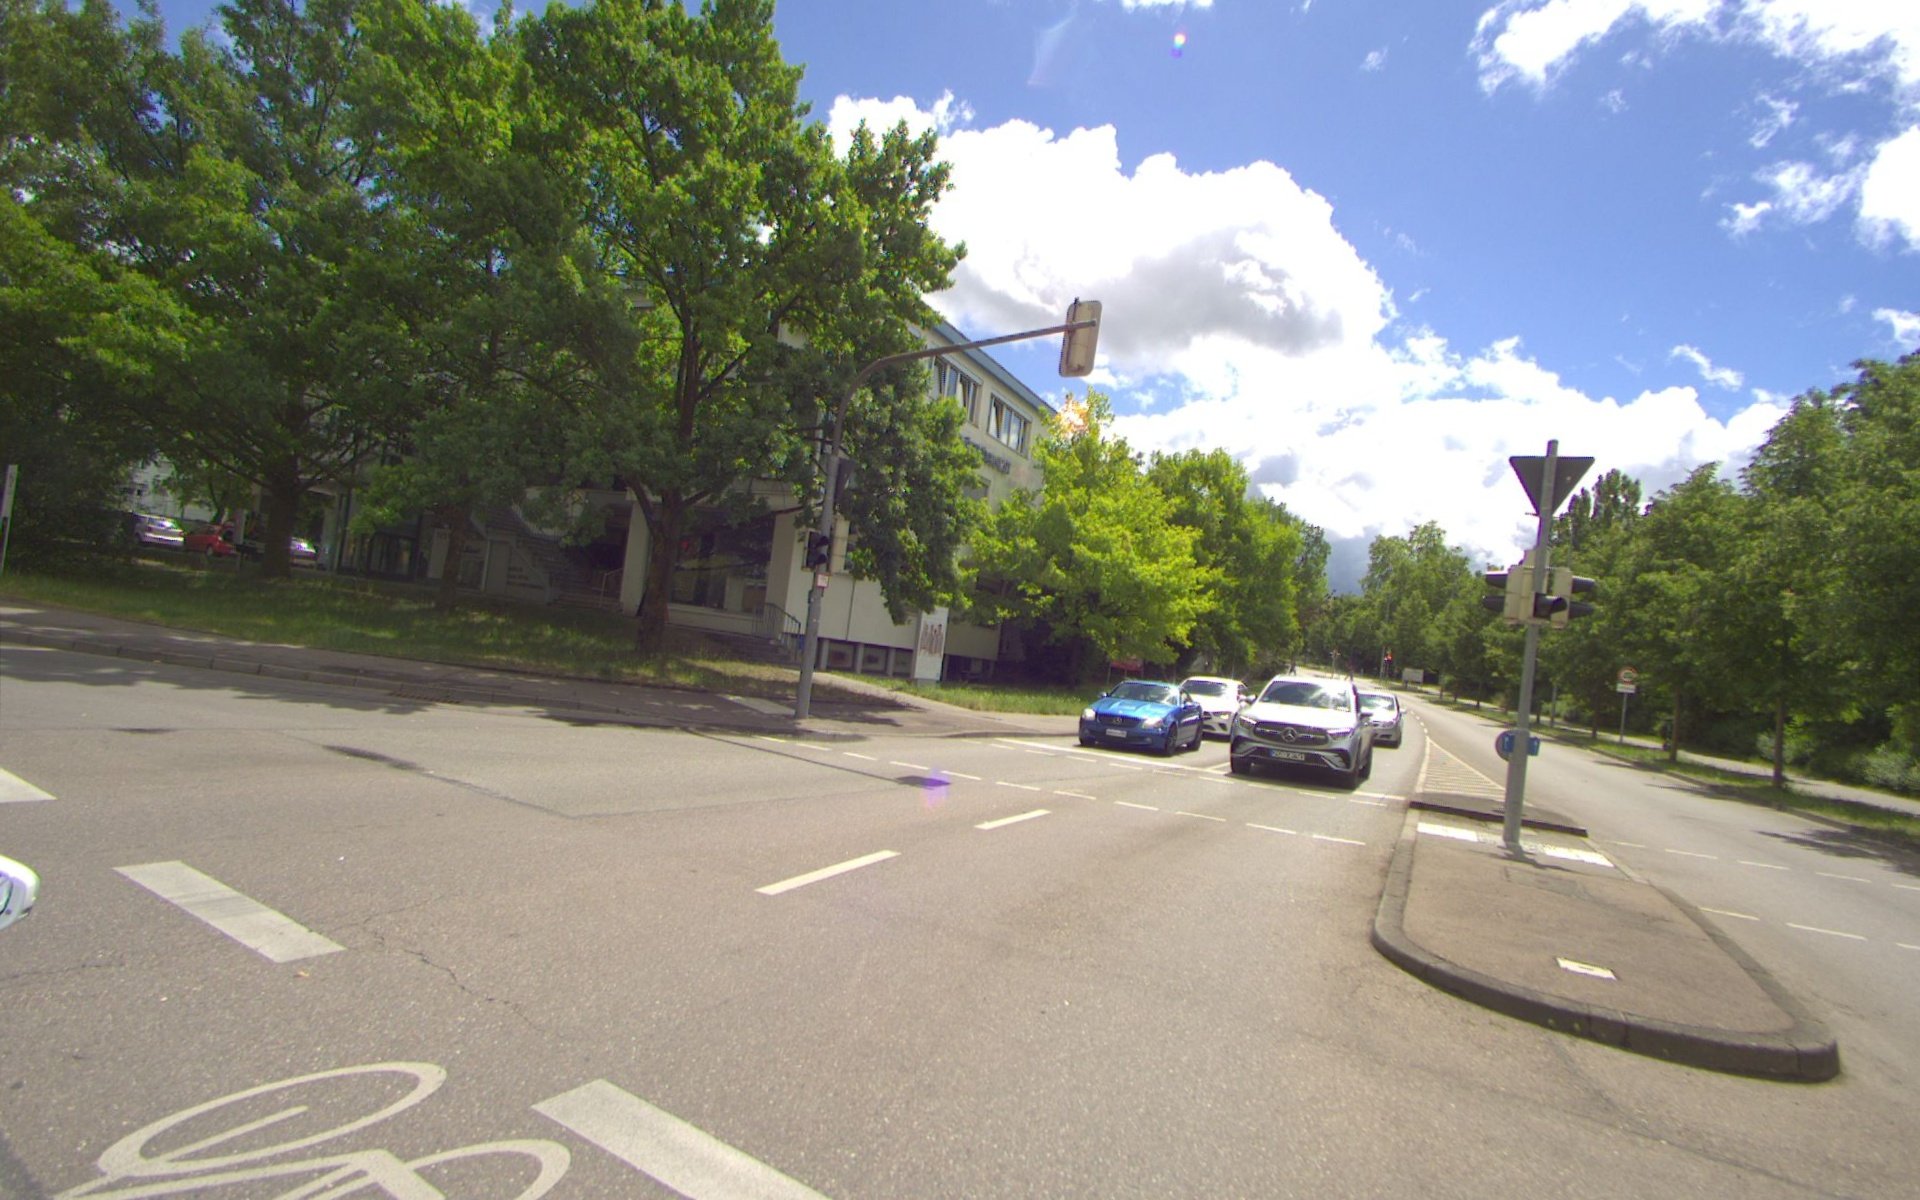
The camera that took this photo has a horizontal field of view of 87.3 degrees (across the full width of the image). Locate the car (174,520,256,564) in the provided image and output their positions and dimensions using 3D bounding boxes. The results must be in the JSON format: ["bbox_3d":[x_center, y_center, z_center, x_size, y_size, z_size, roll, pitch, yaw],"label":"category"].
[{"bbox_3d":[-34.338,-2.680,46.355,3.936,1.460,1.745,7,-1,34],"label":"car"}]

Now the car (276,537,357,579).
[{"bbox_3d":[-32.468,-2.145,50.736,3.933,1.547,1.746,7,-1,32],"label":"car"}]

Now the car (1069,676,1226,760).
[{"bbox_3d":[3.692,2.196,19.249,1.880,1.239,3.970,5,-3,26],"label":"car"}]

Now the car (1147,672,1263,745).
[{"bbox_3d":[6.189,2.652,25.013,1.917,1.431,4.404,5,-3,24],"label":"car"}]

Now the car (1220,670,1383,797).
[{"bbox_3d":[5.851,2.129,16.853,1.890,1.610,4.655,5,-3,26],"label":"car"}]

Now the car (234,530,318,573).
[{"bbox_3d":[-32.647,-2.301,48.008,3.933,1.488,1.746,7,-1,32],"label":"car"}]

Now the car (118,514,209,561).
[{"bbox_3d":[-34.828,-2.744,43.964,3.936,1.508,1.943,7,-1,34],"label":"car"}]

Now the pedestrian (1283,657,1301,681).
[{"bbox_3d":[36.683,7.613,111.191,1.315,2.447,1.408,8,0,32],"label":"pedestrian"}]

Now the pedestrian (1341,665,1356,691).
[{"bbox_3d":[42.462,8.559,109.979,1.136,2.682,1.536,8,0,27],"label":"pedestrian"}]

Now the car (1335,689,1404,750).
[{"bbox_3d":[11.776,3.360,28.784,1.580,1.429,3.898,5,-3,24],"label":"car"}]
